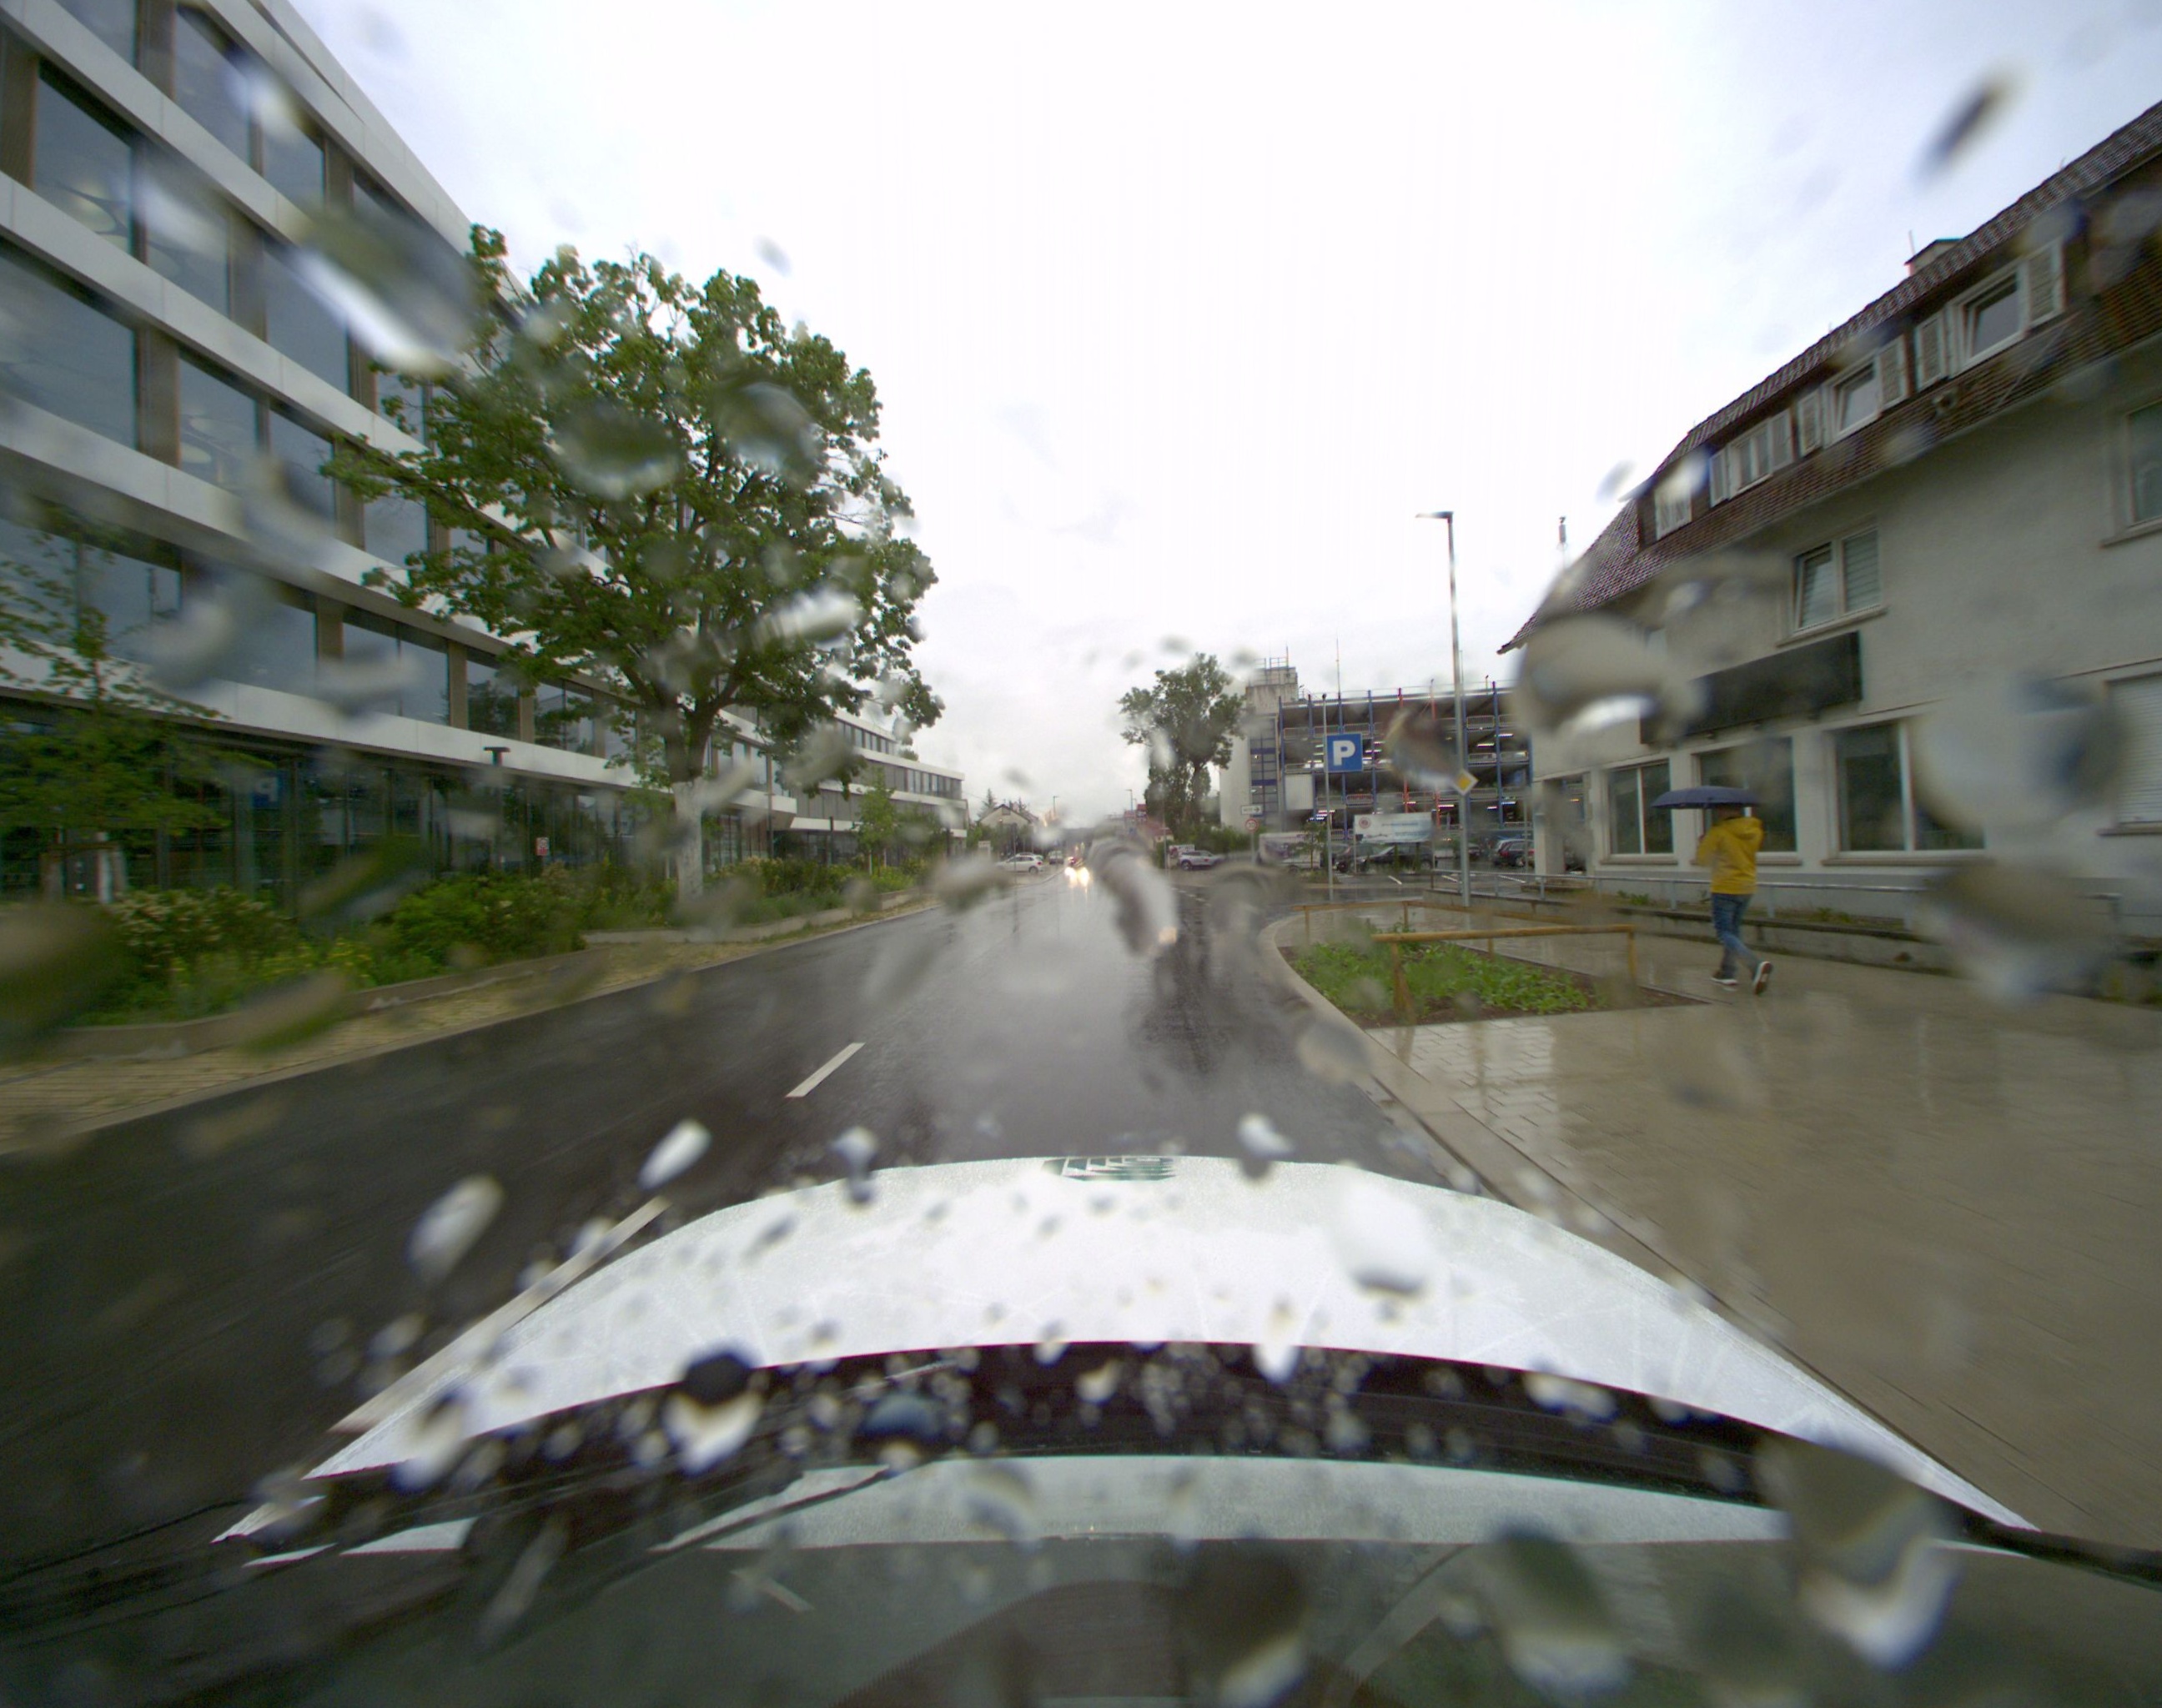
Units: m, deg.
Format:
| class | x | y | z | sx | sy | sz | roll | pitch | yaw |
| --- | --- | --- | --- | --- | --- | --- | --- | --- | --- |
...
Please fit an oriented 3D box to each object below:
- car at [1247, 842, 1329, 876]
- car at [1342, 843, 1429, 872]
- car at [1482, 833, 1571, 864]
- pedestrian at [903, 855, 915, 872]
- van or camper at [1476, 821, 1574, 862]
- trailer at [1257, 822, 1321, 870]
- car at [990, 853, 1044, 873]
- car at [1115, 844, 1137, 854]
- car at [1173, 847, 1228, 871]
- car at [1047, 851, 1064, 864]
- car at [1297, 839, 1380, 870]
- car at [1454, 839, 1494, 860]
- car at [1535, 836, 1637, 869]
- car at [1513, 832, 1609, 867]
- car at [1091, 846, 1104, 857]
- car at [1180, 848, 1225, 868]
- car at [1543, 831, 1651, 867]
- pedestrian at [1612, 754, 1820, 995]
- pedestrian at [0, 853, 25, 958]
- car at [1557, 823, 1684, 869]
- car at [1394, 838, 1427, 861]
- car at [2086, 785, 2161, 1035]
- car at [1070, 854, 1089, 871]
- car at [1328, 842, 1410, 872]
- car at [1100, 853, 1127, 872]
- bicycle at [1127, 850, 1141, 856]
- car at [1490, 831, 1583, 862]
| class | x | y | z | sx | sy | sz | roll | pitch | yaw |
| --- | --- | --- | --- | --- | --- | --- | --- | --- | --- |
| car | 10.558 | 0.269 | 41.617 | 3.714 | 1.529 | 1.650 | -3 | -1 | 0 |
| car | 15.327 | 0.186 | 41.112 | 3.717 | 1.315 | 1.691 | -2 | 0 | -3 |
| car | 27.108 | -0.327 | 49.700 | 4.329 | 1.583 | 1.870 | -3 | 0 | 9 |
| pedestrian | -17.230 | 0.956 | 81.551 | 1.011 | 1.724 | 0.772 | -1 | 0 | -3 |
| van or camper | 28.215 | -0.776 | 51.888 | 4.927 | 2.326 | 2.227 | -3 | 0 | 8 |
| trailer | 9.976 | -0.375 | 39.168 | 2.691 | 2.171 | 1.549 | -2 | 0 | 2 |
| car | -4.859 | 0.697 | 62.489 | 3.914 | 1.423 | 1.898 | -2 | 0 | 1 |
| car | 8.704 | -1.009 | 157.268 | 4.103 | 1.706 | 1.786 | 2 | -2 | -3 |
| car | 9.638 | 0.374 | 65.487 | 4.181 | 1.649 | 2.006 | -4 | -1 | 10 |
| car | -3.336 | 0.446 | 107.700 | 1.987 | 1.629 | 4.153 | -2 | 0 | 0 |
| car | 15.326 | 0.020 | 48.587 | 4.344 | 1.651 | 1.843 | -2 | 0 | -2 |
| car | 30.343 | -0.324 | 62.977 | 1.879 | 1.486 | 4.012 | 1 | -2 | 11 |
| car | 26.363 | -0.074 | 42.639 | 4.102 | 1.497 | 1.870 | -3 | 0 | 9 |
| car | 26.406 | -0.245 | 44.921 | 4.102 | 1.667 | 1.870 | -3 | 0 | 9 |
| car | 2.781 | -0.474 | 141.716 | 2.147 | 1.706 | 3.999 | 2 | -2 | 0 |
| car | 10.159 | 0.334 | 68.180 | 3.599 | 1.494 | 1.811 | -3 | 0 | 9 |
| car | 25.390 | -0.241 | 40.249 | 4.096 | 1.497 | 1.873 | -3 | 0 | 15 |
| pedestrian | 5.846 | 0.177 | 7.590 | 0.856 | 2.013 | 1.194 | -4 | 0 | -2 |
| pedestrian | -17.882 | 0.818 | 12.987 | 0.721 | 1.704 | 0.957 | 2 | -2 | 4 |
| car | 24.769 | -0.361 | 37.547 | 4.441 | 1.828 | 1.901 | -3 | 0 | 16 |
| car | 25.990 | -0.345 | 64.289 | 1.718 | 1.679 | 4.014 | -3 | 0 | 13 |
| car | 8.958 | 0.224 | 4.960 | 4.135 | 1.580 | 1.990 | -4 | 0 | -14 |
| car | -0.187 | 0.929 | 94.160 | 1.997 | 1.818 | 4.978 | -2 | 0 | 0 |
| car | 15.345 | 0.144 | 43.496 | 3.717 | 1.449 | 1.729 | -2 | 0 | -3 |
| car | 2.803 | 0.758 | 70.873 | 1.943 | 1.556 | 3.996 | 2 | -2 | -2 |
| bicycle | 9.766 | -0.213 | 150.650 | 0.673 | 1.067 | 3.593 | 3 | -2 | -31 |
| car | 26.549 | -0.431 | 47.565 | 4.329 | 1.583 | 1.870 | -3 | 0 | 9 |
